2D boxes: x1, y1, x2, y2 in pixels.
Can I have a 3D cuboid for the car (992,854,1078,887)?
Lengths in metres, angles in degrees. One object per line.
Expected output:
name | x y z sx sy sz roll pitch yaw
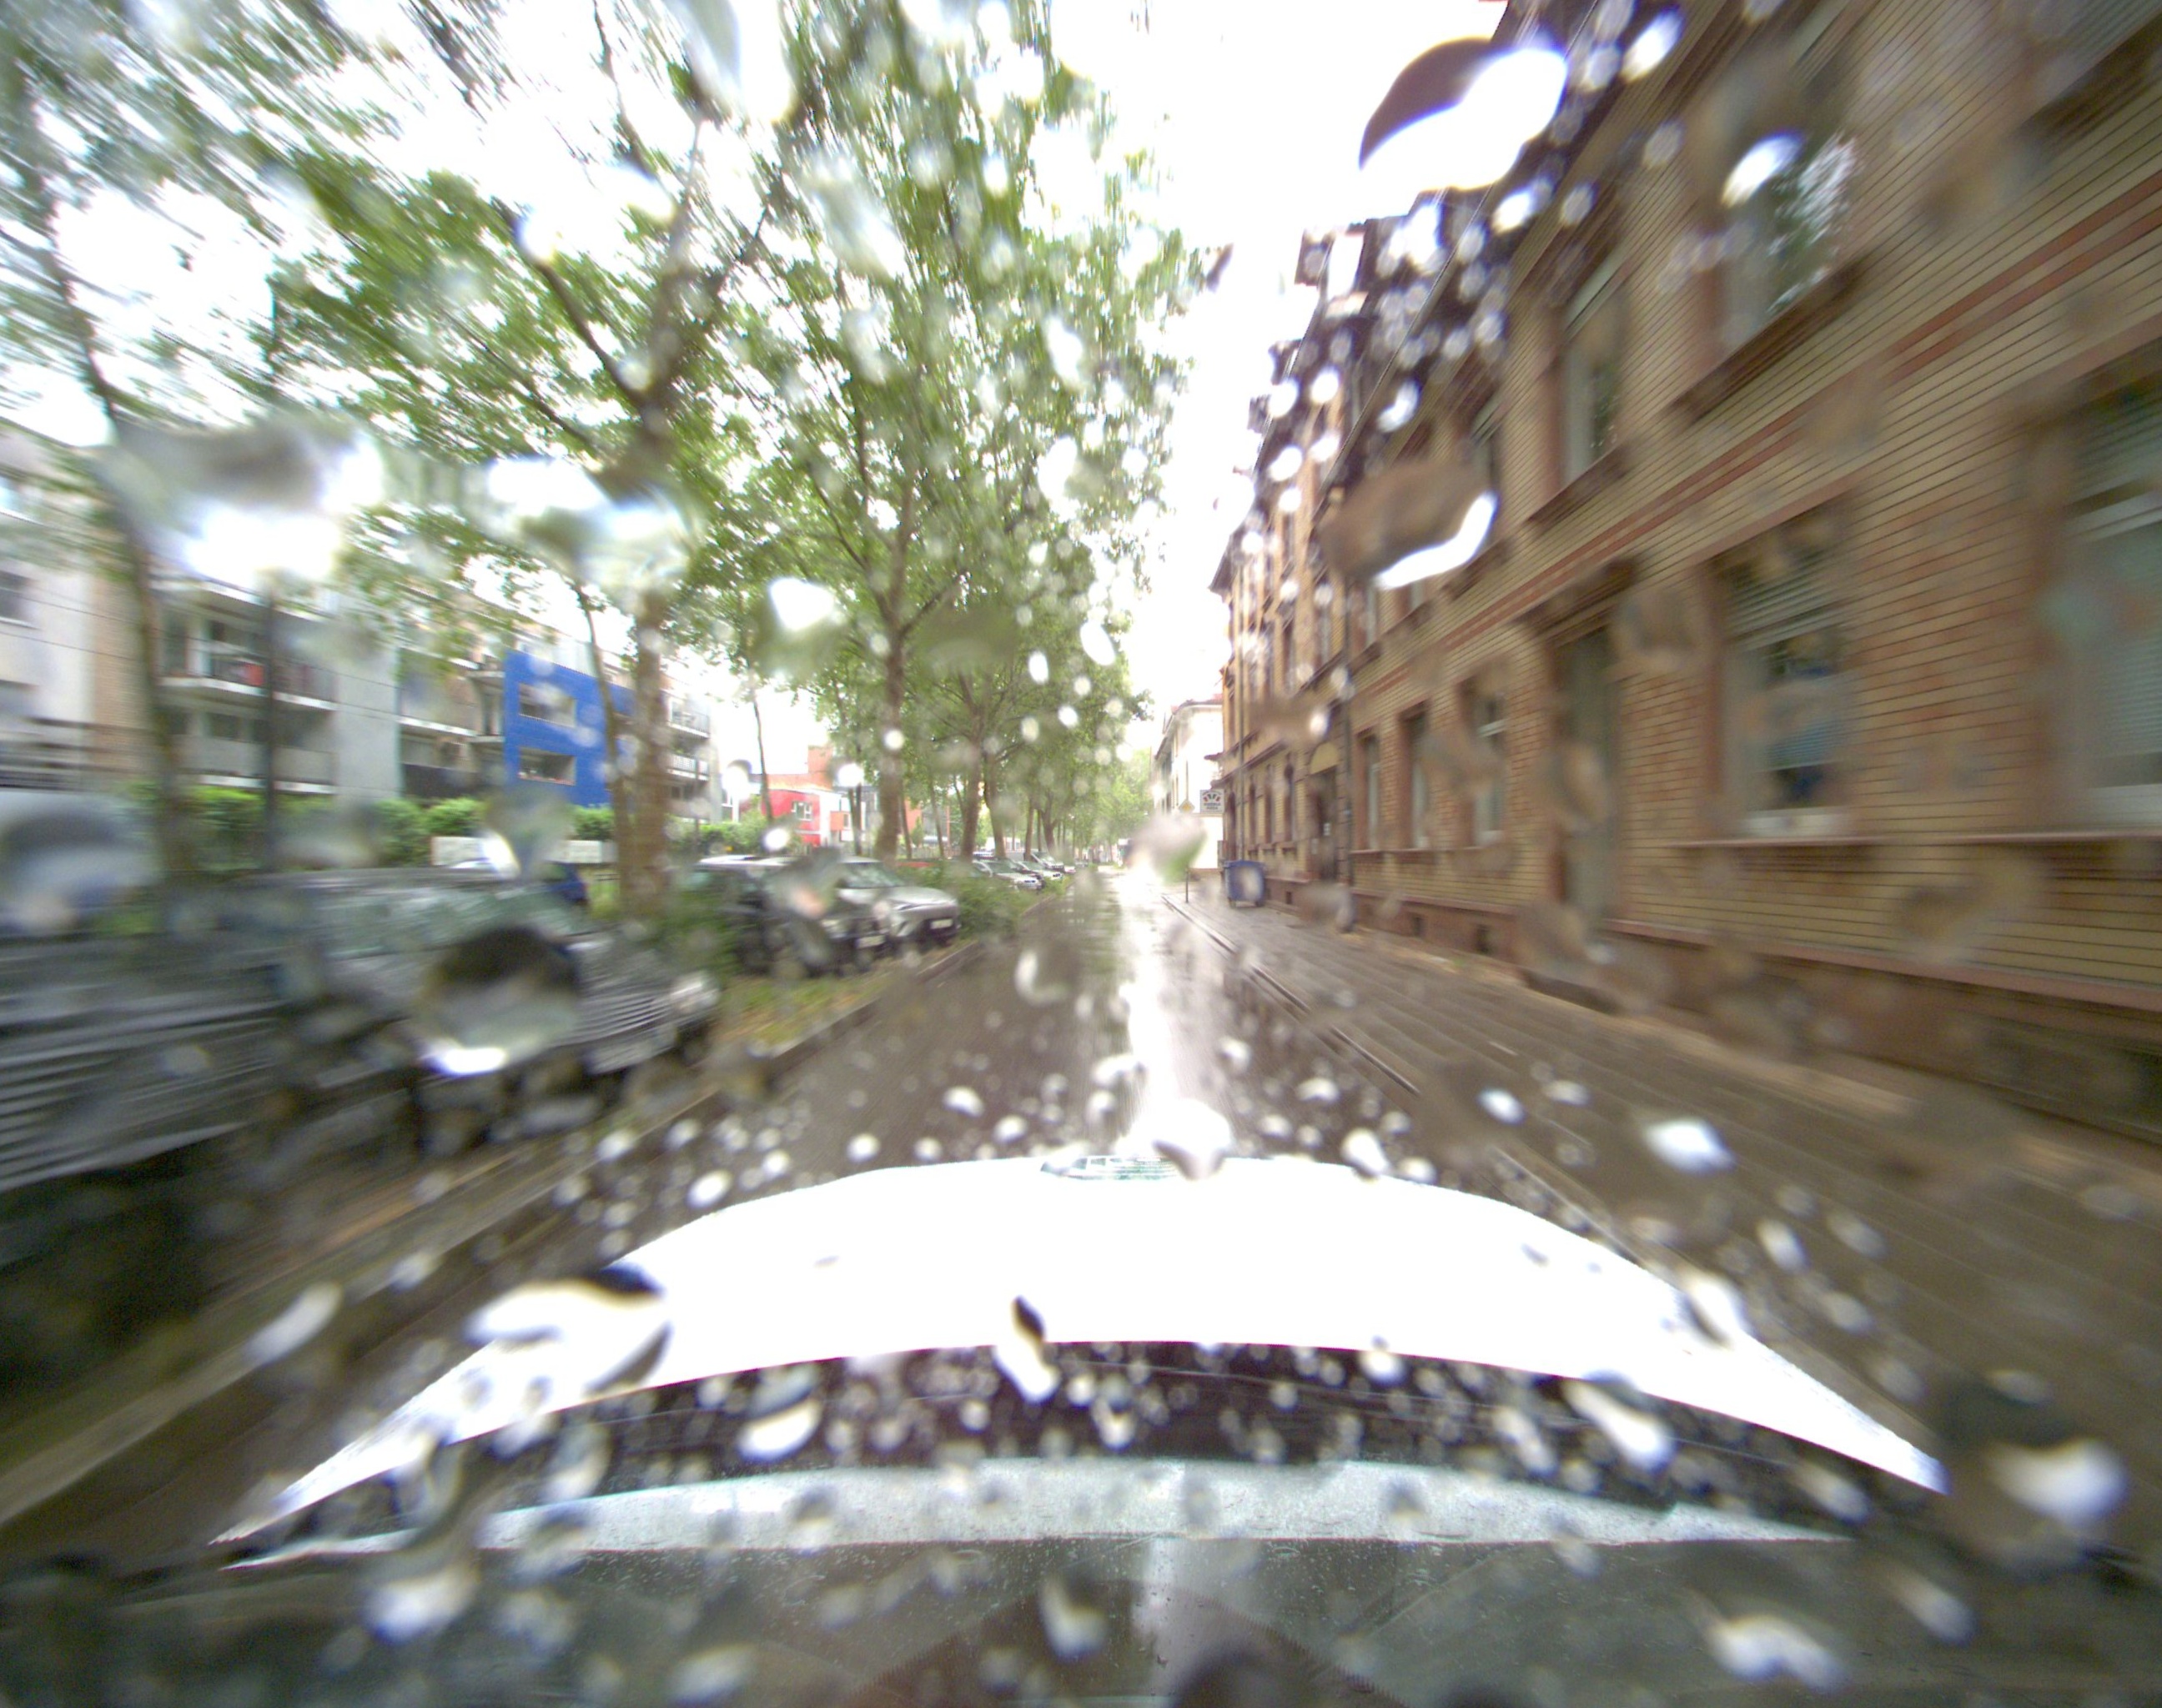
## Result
car | -2.933 1.037 51.266 5.065 1.977 2.116 -2 -1 33

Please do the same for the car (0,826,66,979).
car | -11.857 0.472 6.498 1.897 1.534 4.421 0 0 1

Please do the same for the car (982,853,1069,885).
car | -2.832 0.719 41.294 4.019 1.499 1.757 1 0 25

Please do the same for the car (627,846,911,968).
car | -4.300 0.660 11.250 3.469 1.468 1.651 -1 -1 23

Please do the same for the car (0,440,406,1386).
car | -4.694 0.163 2.962 4.600 2.283 2.024 -1 -1 31

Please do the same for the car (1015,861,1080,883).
car | -2.469 1.339 59.819 4.502 1.482 1.786 -2 -1 32

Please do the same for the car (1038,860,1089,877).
car | -1.670 1.346 77.038 4.416 1.597 1.935 0 0 28

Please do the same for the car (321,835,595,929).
car | -11.530 0.475 15.537 1.897 1.534 4.216 0 0 1

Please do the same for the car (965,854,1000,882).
car | -7.280 1.005 60.575 2.032 2.000 5.157 1 0 -1

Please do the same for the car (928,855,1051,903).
car | -3.464 0.954 30.643 4.361 1.645 1.884 -2 -2 33

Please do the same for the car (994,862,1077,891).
car | -2.532 1.210 44.814 4.261 1.437 1.758 1 0 28

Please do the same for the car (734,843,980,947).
car | -3.911 0.609 14.066 4.013 1.537 1.847 1 0 32

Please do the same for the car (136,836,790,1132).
car | -4.353 0.611 5.579 4.601 1.326 1.858 -1 -1 29

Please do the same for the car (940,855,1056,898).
car | -3.408 0.888 33.309 4.361 1.660 1.942 -1 -1 30

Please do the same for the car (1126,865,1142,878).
car | 7.269 2.418 112.527 1.986 1.640 4.001 1 -1 2

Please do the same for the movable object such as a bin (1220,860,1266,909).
movable object such as a bin | 4.590 0.842 23.192 1.017 1.301 1.367 -3 0 2

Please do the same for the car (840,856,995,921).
car | -4.174 0.812 20.665 3.607 1.479 1.754 1 0 32
